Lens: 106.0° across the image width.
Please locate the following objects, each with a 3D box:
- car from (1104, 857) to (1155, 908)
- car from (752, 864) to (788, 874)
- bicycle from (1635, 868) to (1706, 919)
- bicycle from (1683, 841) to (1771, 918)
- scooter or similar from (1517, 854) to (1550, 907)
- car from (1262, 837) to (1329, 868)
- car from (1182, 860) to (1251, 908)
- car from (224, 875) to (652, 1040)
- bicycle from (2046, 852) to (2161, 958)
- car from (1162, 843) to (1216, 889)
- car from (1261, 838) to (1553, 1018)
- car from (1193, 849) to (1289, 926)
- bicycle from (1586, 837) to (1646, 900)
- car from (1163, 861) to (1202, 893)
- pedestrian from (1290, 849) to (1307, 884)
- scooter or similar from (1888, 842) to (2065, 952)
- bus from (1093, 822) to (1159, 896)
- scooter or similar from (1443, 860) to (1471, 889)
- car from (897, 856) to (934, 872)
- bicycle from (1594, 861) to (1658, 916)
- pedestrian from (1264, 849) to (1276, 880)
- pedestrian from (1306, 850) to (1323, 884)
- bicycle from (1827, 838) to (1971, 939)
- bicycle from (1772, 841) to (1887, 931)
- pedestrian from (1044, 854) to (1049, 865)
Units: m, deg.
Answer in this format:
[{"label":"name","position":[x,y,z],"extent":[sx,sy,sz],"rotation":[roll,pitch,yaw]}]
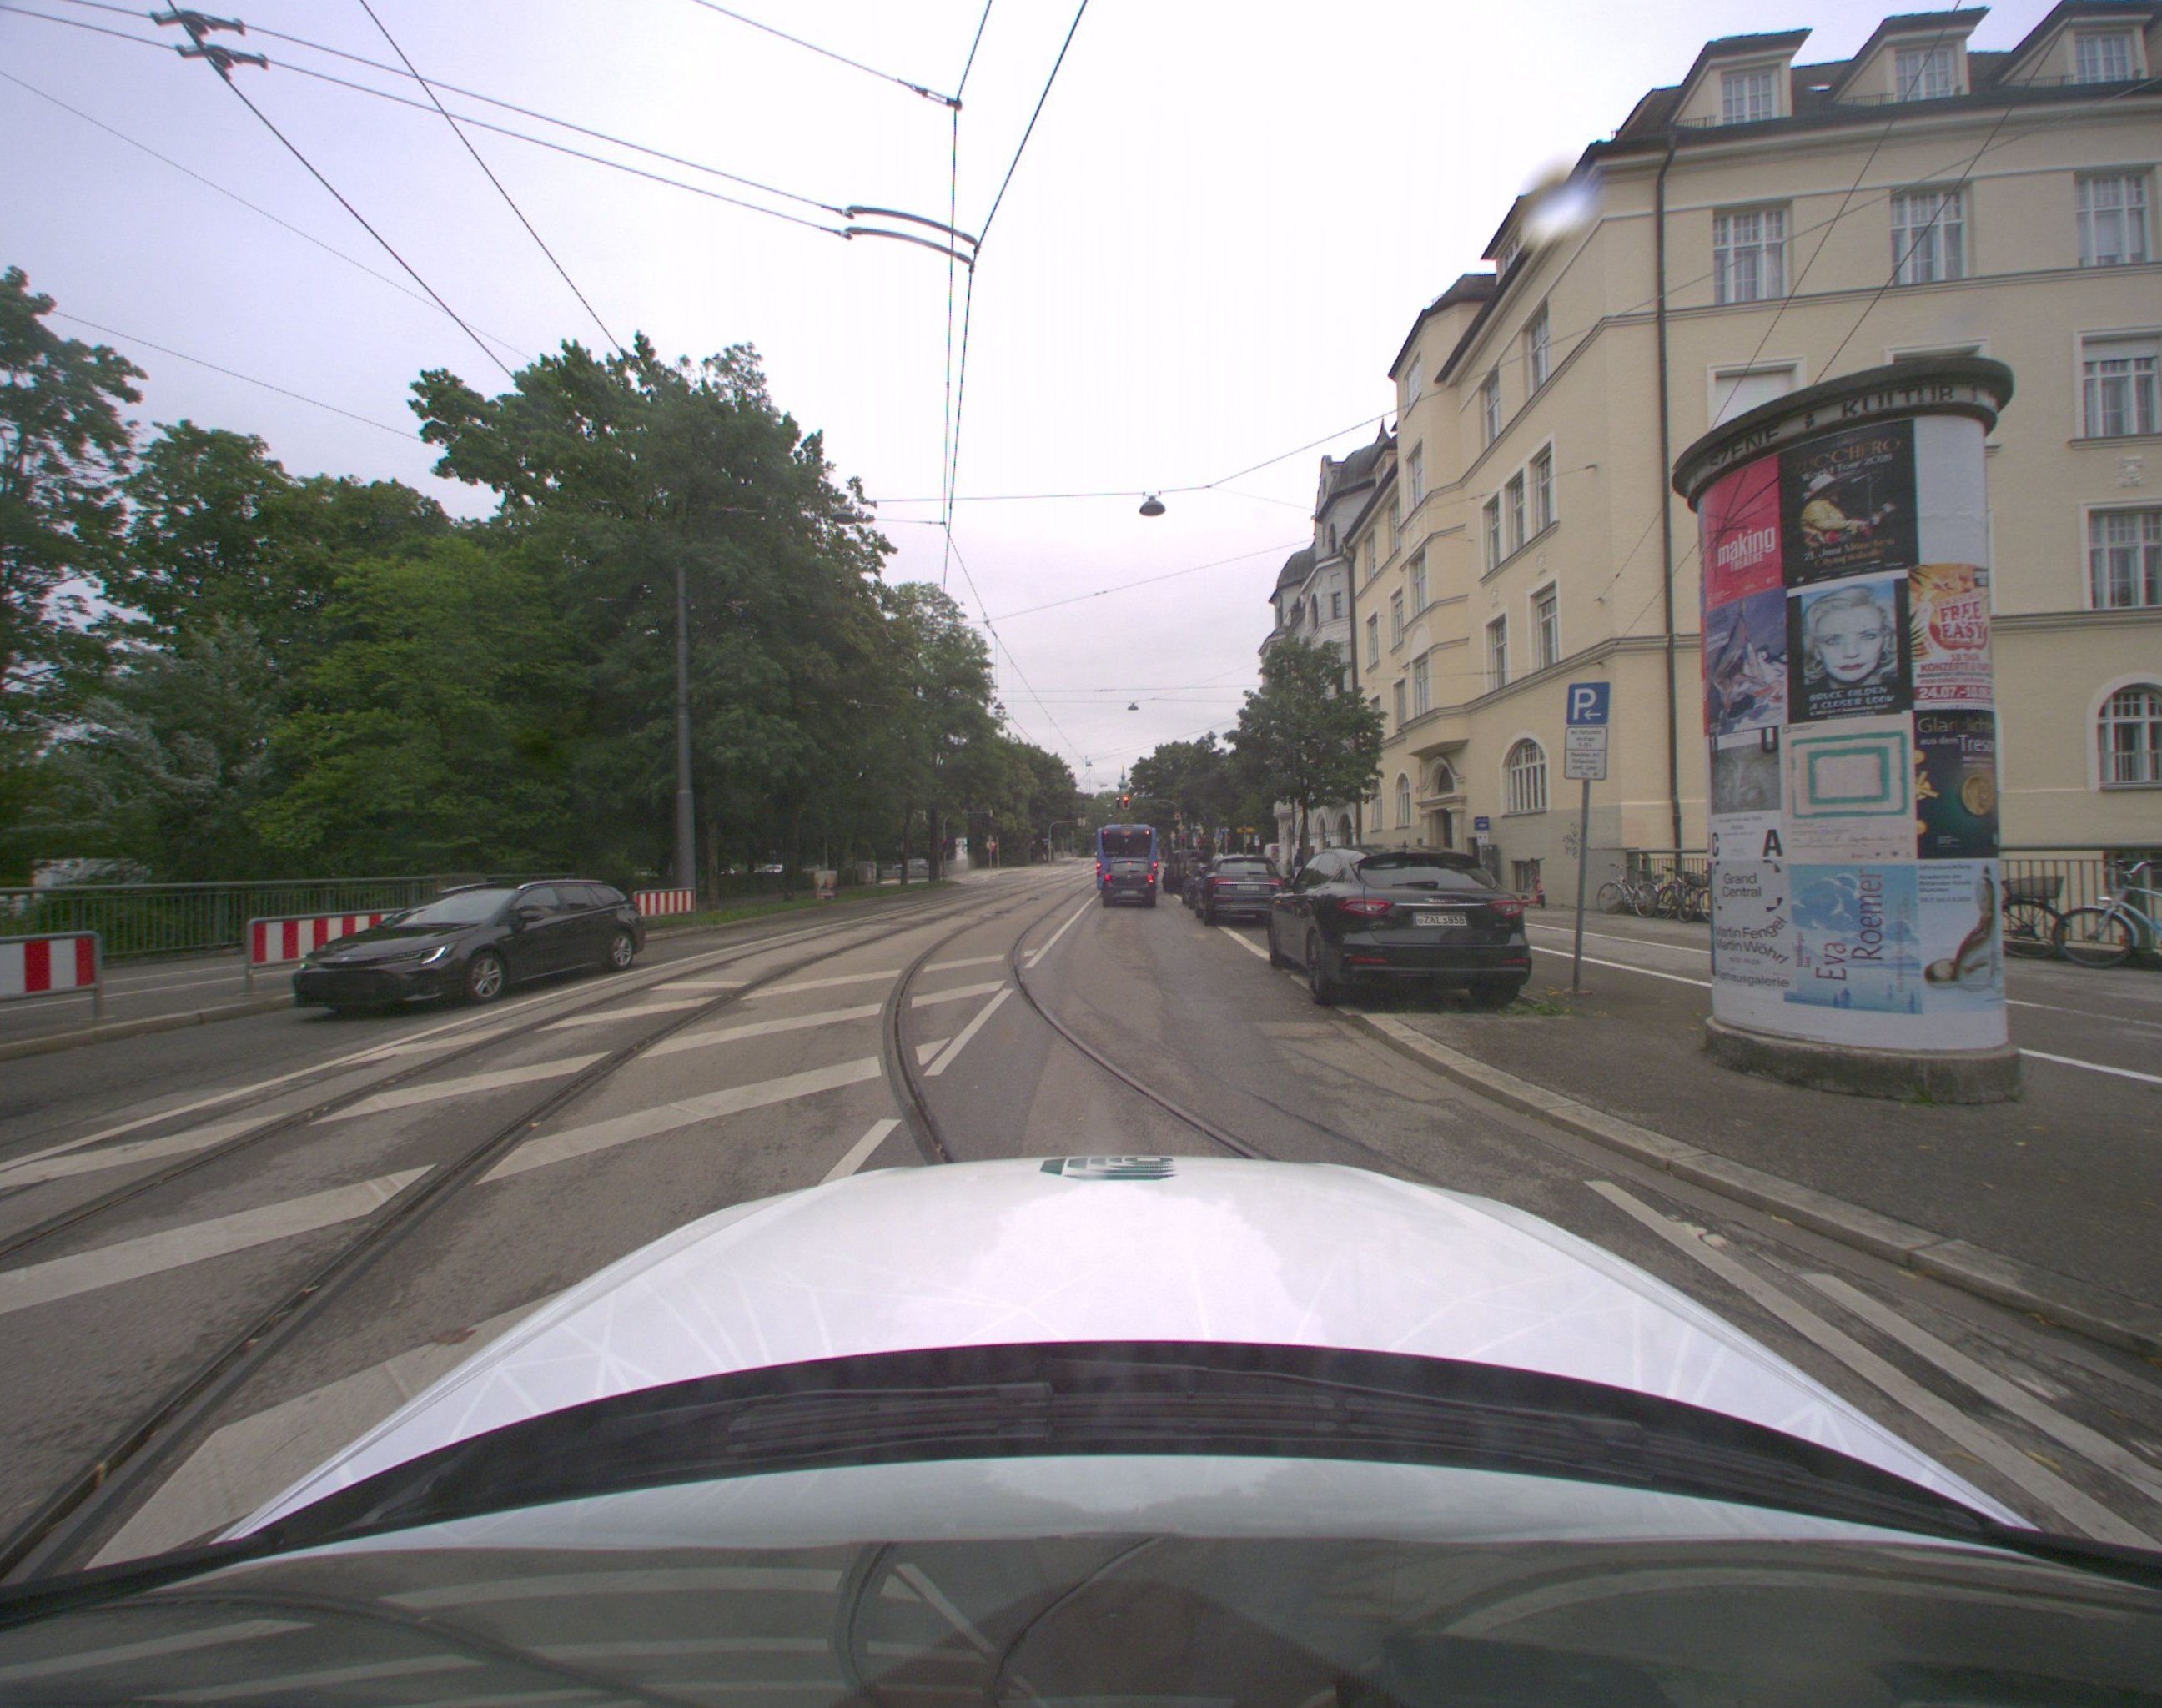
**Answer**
[{"label":"car","position":[1.608,0.903,27.140],"extent":[1.594,1.556,3.528],"rotation":[0,-1,3]},{"label":"car","position":[-36.152,1.716,94.644],"extent":[3.718,1.185,1.250],"rotation":[0,-1,-2]},{"label":"bicycle","position":[11.531,0.765,15.967],"extent":[0.249,0.935,1.137],"rotation":[-5,-1,-18]},{"label":"bicycle","position":[11.339,0.432,14.344],"extent":[0.281,1.282,1.406],"rotation":[0,-1,-8]},{"label":"scooter or similar","position":[11.481,0.657,20.694],"extent":[0.260,1.313,1.143],"rotation":[0,-1,4]},{"label":"car","position":[18.740,-0.144,71.161],"extent":[5.278,2.613,2.231],"rotation":[0,-1,0]},{"label":"car","position":[4.297,0.905,26.388],"extent":[1.709,1.426,4.606],"rotation":[0,-1,3]},{"label":"car","position":[-7.729,1.099,10.595],"extent":[1.618,1.388,4.839],"rotation":[-4,0,0]},{"label":"bicycle","position":[11.104,0.521,8.394],"extent":[0.264,1.082,1.536],"rotation":[0,-1,-11]},{"label":"car","position":[4.808,0.533,36.776],"extent":[1.907,1.906,4.809],"rotation":[0,-1,1]},{"label":"car","position":[3.438,0.658,9.659],"extent":[1.892,1.610,4.670],"rotation":[0,0,4]},{"label":"car","position":[3.802,0.757,20.074],"extent":[1.766,1.658,4.492],"rotation":[-1,-1,4]},{"label":"bicycle","position":[11.683,0.313,17.830],"extent":[0.330,1.312,1.538],"rotation":[0,-1,2]},{"label":"car","position":[5.222,1.142,42.309],"extent":[1.707,1.591,4.331],"rotation":[0,-1,4]},{"label":"pedestrian","position":[11.386,0.645,42.660],"extent":[0.702,1.816,0.870],"rotation":[0,-1,3]},{"label":"scooter or similar","position":[11.033,0.500,10.101],"extent":[0.245,1.263,1.486],"rotation":[0,-1,-19]},{"label":"bus","position":[1.928,0.221,36.685],"extent":[2.669,2.997,6.963],"rotation":[0,-1,2]},{"label":"scooter or similar","position":[12.246,0.660,26.536],"extent":[0.658,0.946,0.547],"rotation":[0,-1,5]},{"label":"car","position":[-19.257,1.167,94.905],"extent":[4.013,1.887,1.489],"rotation":[0,-1,-3]},{"label":"bicycle","position":[11.559,0.703,17.310],"extent":[0.286,1.106,1.441],"rotation":[-1,-1,-4]},{"label":"pedestrian","position":[12.500,0.715,53.927],"extent":[0.670,2.014,0.717],"rotation":[0,-1,3]},{"label":"pedestrian","position":[12.202,0.672,42.582],"extent":[0.702,1.732,0.843],"rotation":[0,-1,3]},{"label":"bicycle","position":[11.086,0.447,11.093],"extent":[0.282,1.282,1.402],"rotation":[0,-1,-16]},{"label":"bicycle","position":[11.254,0.460,12.293],"extent":[0.281,1.282,1.406],"rotation":[0,-1,-8]},{"label":"pedestrian","position":[-4.782,0.820,113.484],"extent":[0.528,1.501,0.589],"rotation":[-1,-1,8]}]
